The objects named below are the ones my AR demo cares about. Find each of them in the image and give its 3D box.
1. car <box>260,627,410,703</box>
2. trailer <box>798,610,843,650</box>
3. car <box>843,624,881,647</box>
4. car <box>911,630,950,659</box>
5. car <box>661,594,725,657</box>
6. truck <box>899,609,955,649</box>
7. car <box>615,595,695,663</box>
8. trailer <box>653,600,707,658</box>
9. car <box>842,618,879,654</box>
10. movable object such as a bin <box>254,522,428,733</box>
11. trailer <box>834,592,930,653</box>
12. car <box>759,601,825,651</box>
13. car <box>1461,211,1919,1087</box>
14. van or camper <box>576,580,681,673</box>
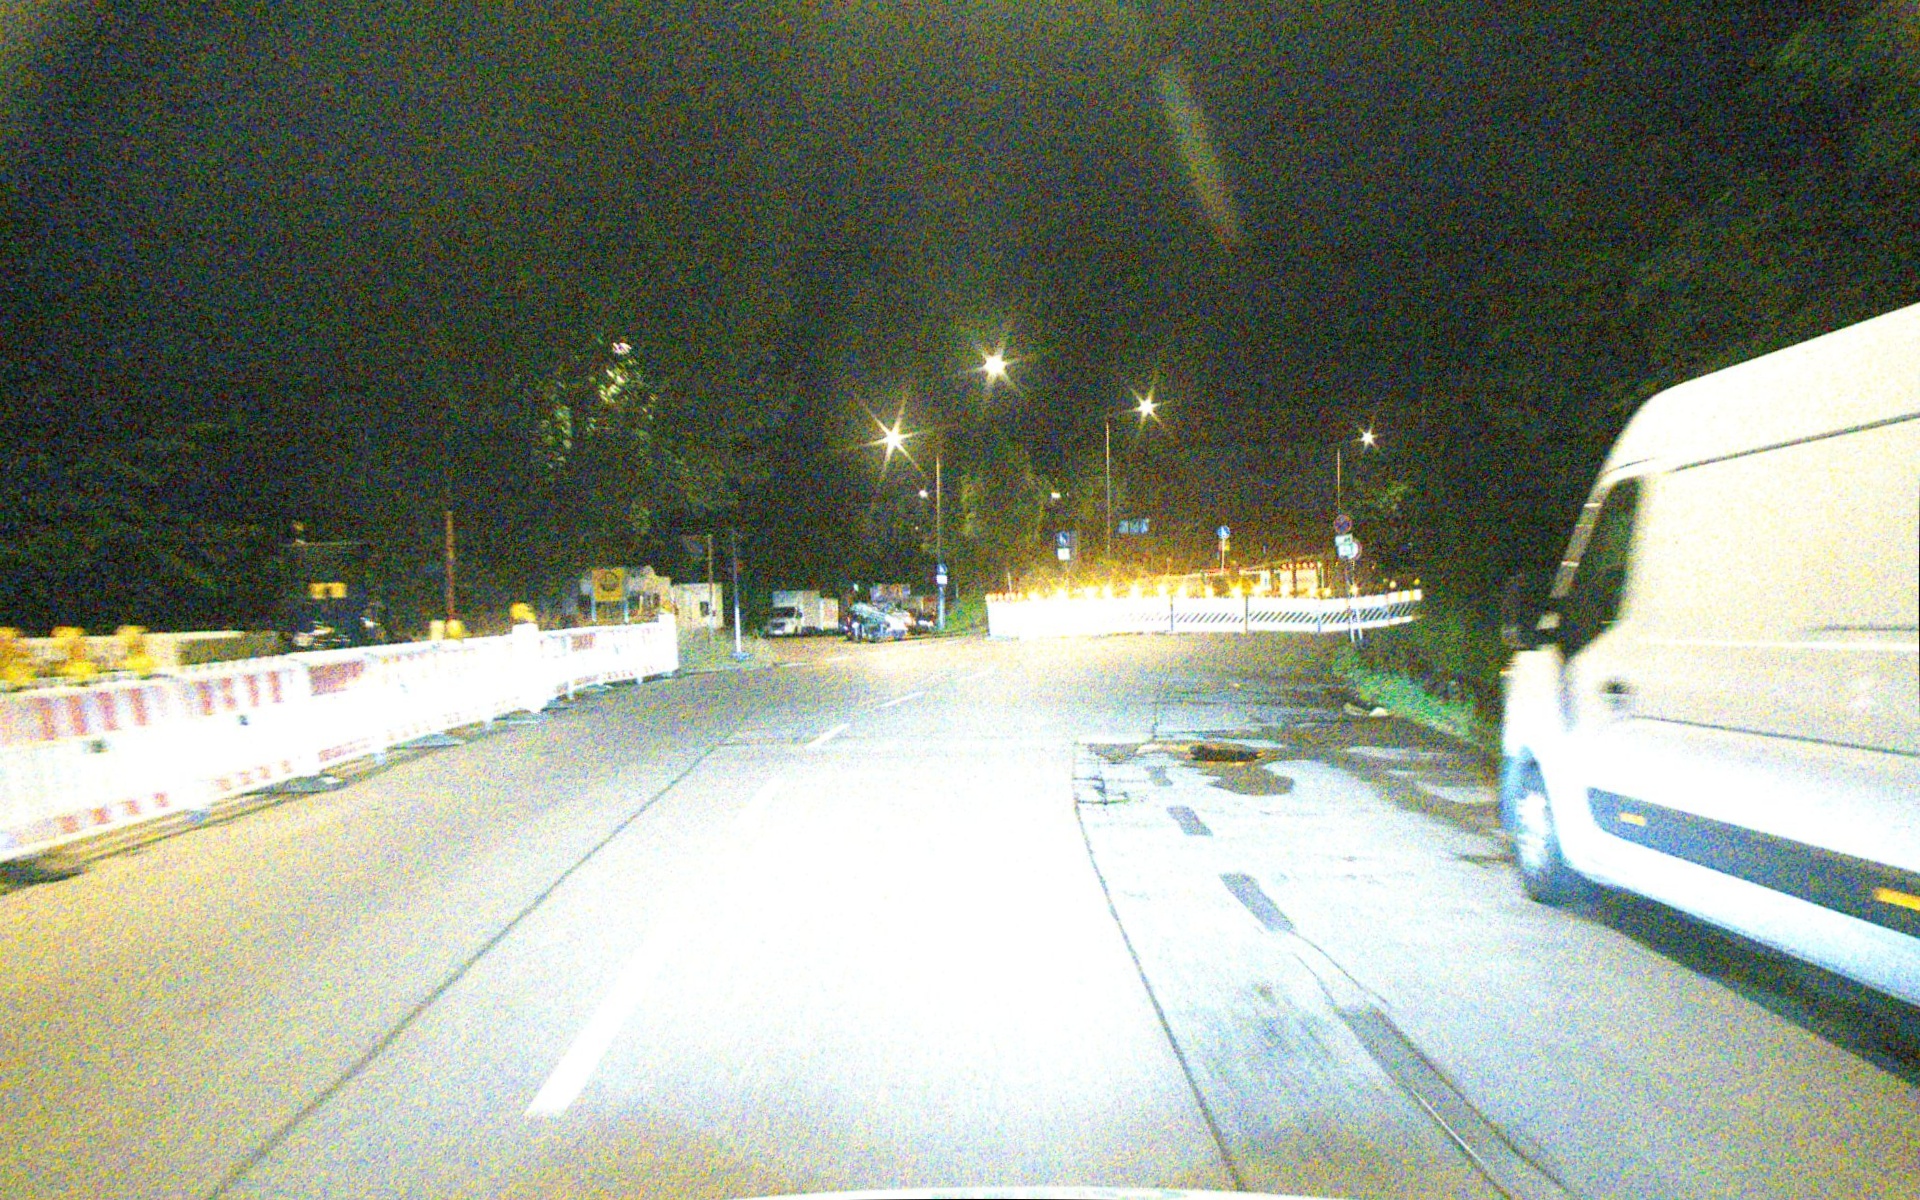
[{"bbox_3d":[-26.140,2.652,69.525,1.953,2.891,6.680,0,0,21],"label":"car"},{"bbox_3d":[-10.203,2.187,121.600,1.951,2.862,4.707,-1,0,12],"label":"trailer"},{"bbox_3d":[-7.834,2.863,132.801,1.951,1.729,4.209,-1,-2,12],"label":"car"},{"bbox_3d":[-1.911,2.933,108.734,1.684,1.853,4.003,-1,-2,13],"label":"car"},{"bbox_3d":[-13.619,1.304,84.950,2.469,2.978,7.194,-3,-1,-4],"label":"car"},{"bbox_3d":[-2.935,2.597,150.906,1.952,3.463,8.979,0,0,21],"label":"truck"},{"bbox_3d":[-13.028,1.248,71.182,2.469,2.651,7.085,-3,-1,-4],"label":"car"},{"bbox_3d":[-13.139,1.339,77.700,1.954,2.571,3.566,-3,-1,-3],"label":"trailer"},{"bbox_3d":[-4.786,1.748,80.156,1.686,1.690,3.998,0,-2,-2],"label":"car"},{"bbox_3d":[-9.029,0.371,24.390,1.542,2.781,3.693,-4,0,-9],"label":"movable object such as a bin"},{"bbox_3d":[-3.148,0.910,65.437,1.543,2.198,5.169,-2,-2,-30],"label":"trailer"},{"bbox_3d":[-11.629,1.782,115.039,2.465,3.227,7.143,-3,-1,11],"label":"car"},{"bbox_3d":[3.837,0.143,6.064,2.065,2.560,6.371,0,0,0],"label":"car"},{"bbox_3d":[-12.294,1.007,61.856,2.468,3.148,7.442,-3,-1,-1],"label":"van or camper"}]
